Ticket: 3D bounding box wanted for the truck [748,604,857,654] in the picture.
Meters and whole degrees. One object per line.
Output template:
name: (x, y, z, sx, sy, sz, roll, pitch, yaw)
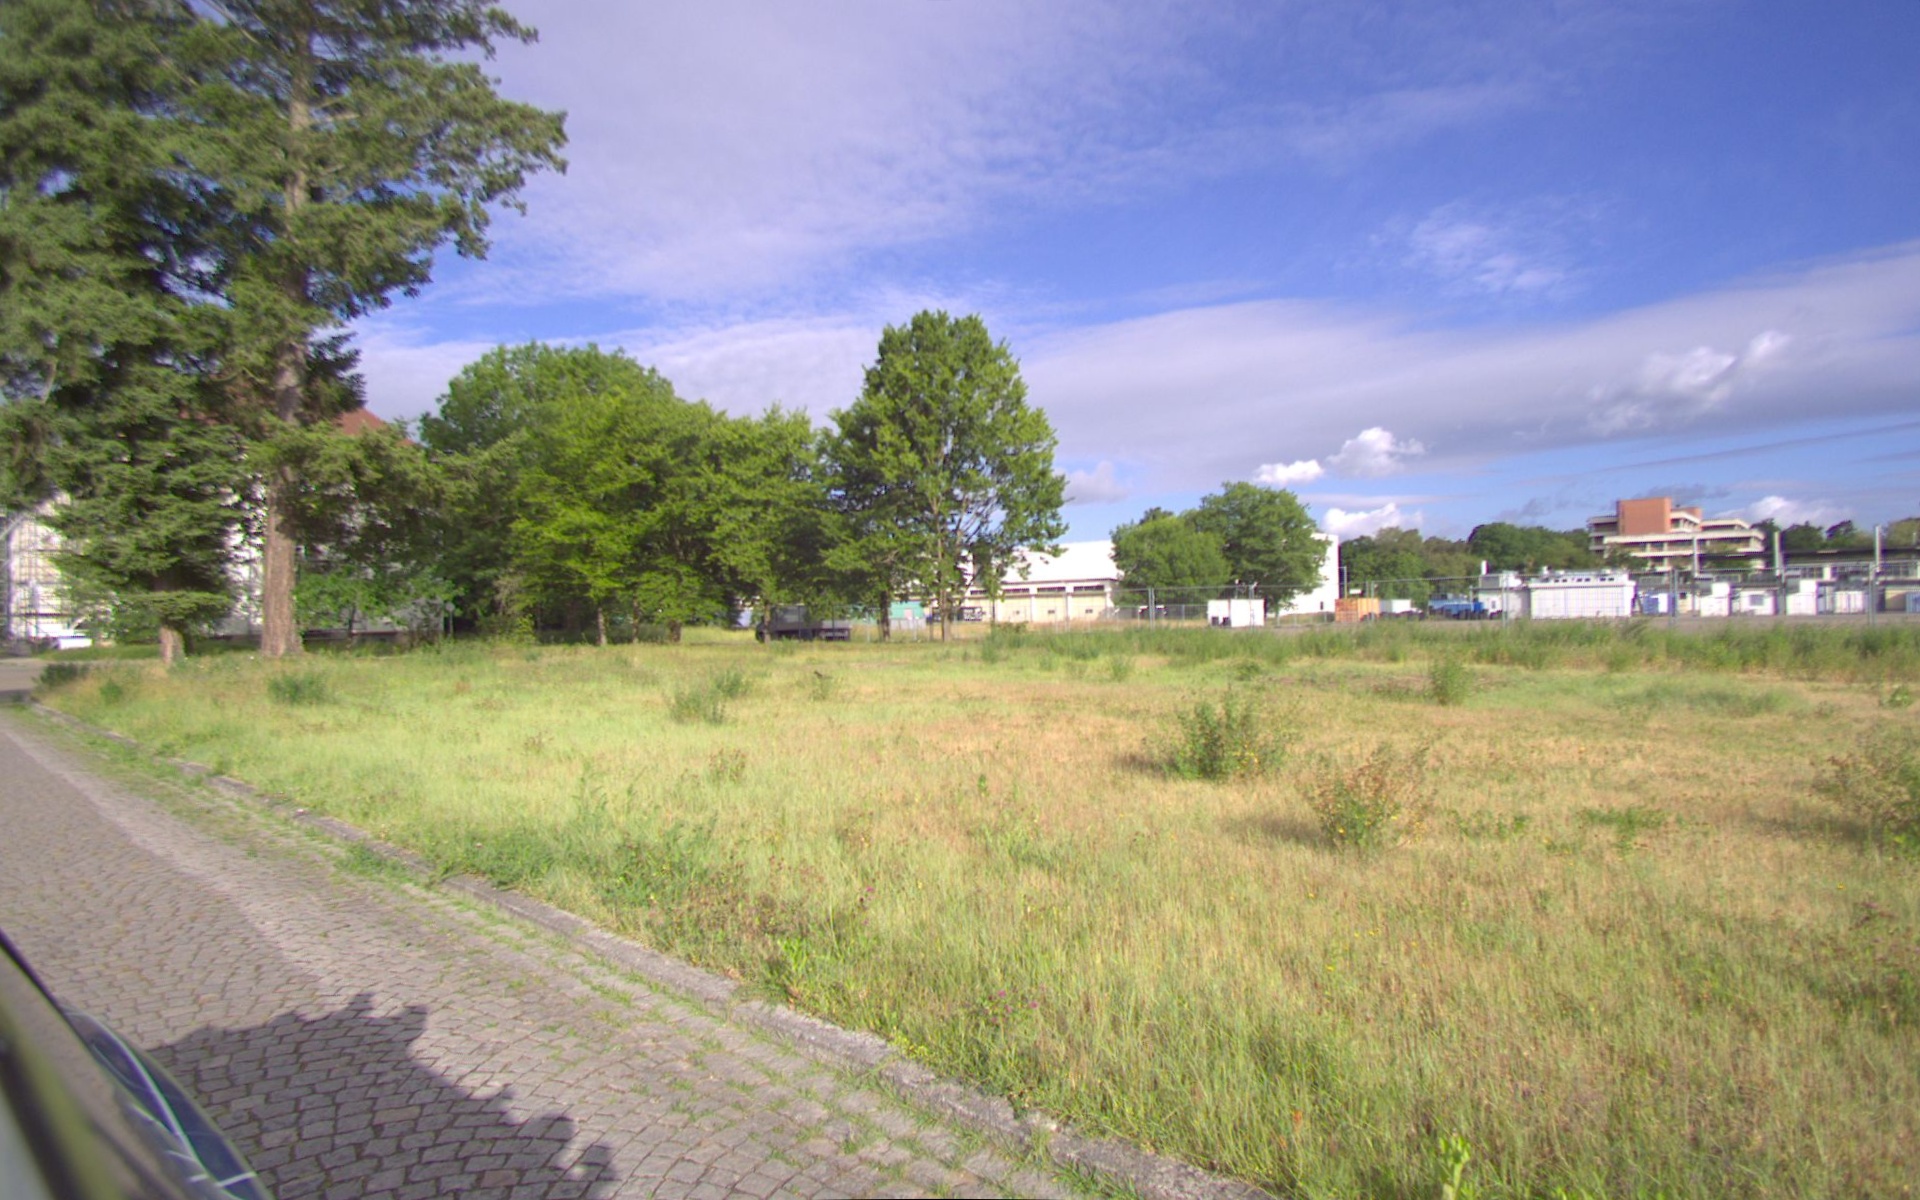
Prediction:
truck: (-8.953, 1.662, 56.936, 2.384, 2.607, 6.962, 0, -2, -45)
